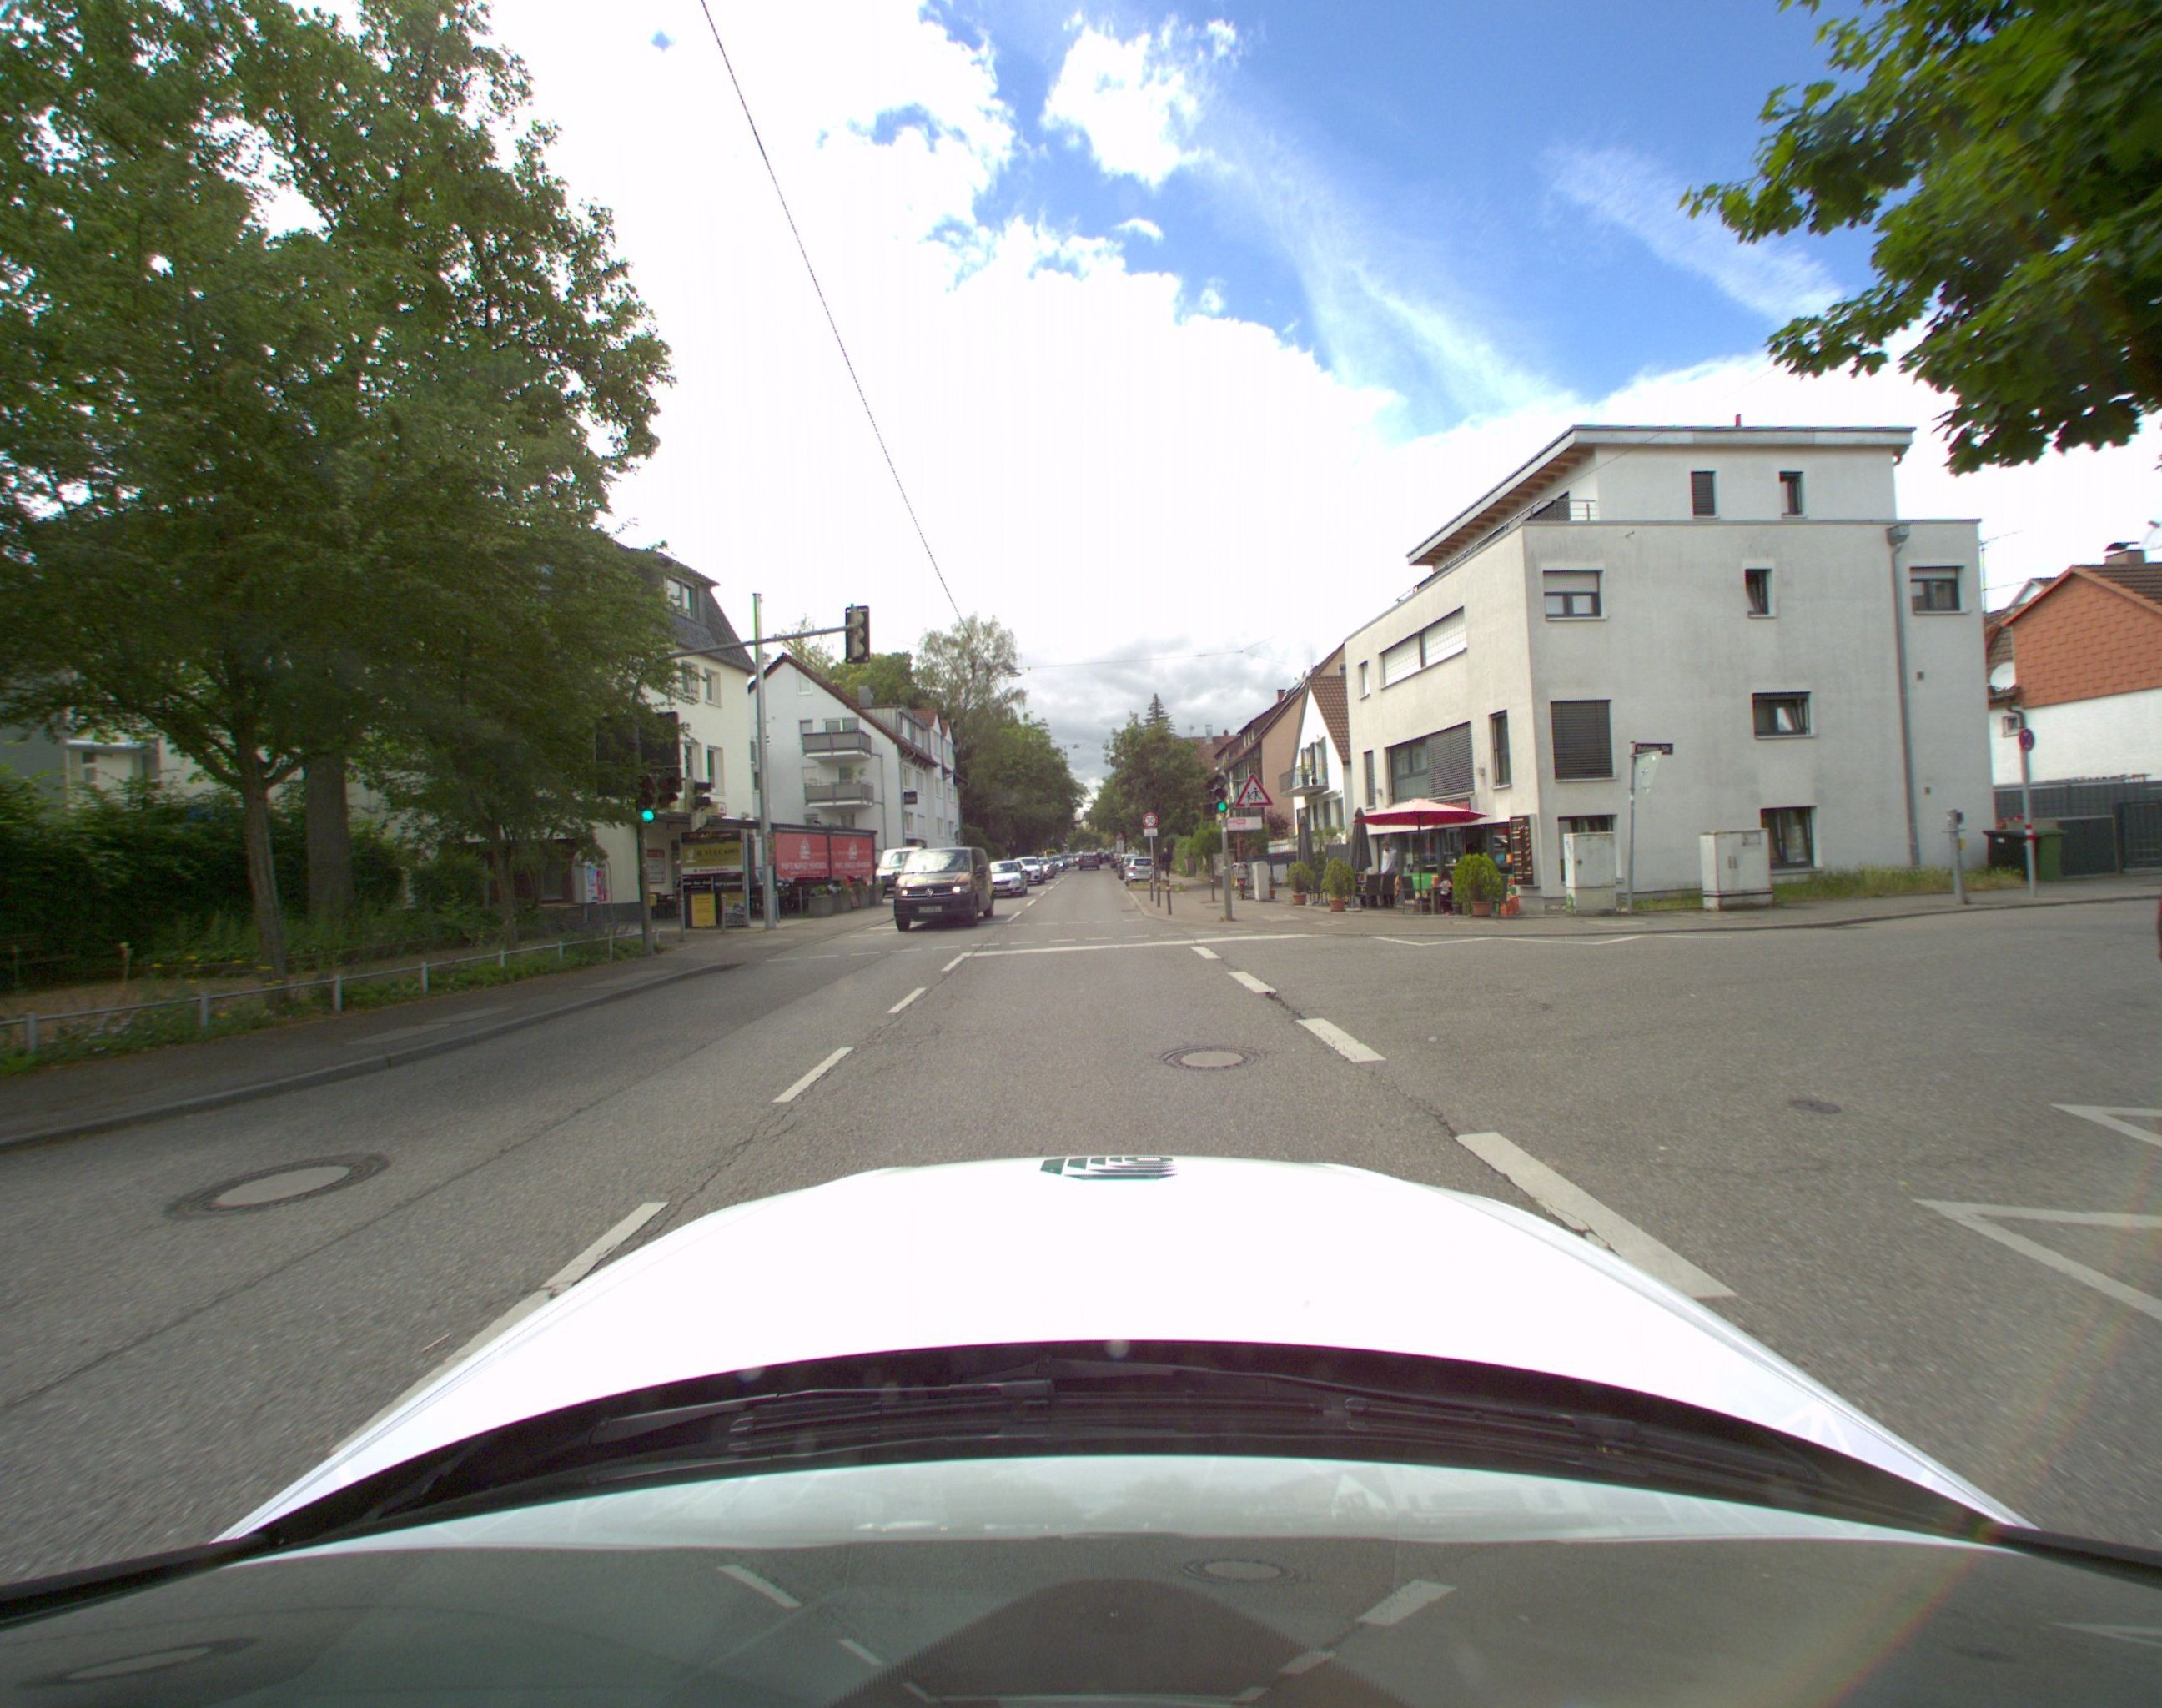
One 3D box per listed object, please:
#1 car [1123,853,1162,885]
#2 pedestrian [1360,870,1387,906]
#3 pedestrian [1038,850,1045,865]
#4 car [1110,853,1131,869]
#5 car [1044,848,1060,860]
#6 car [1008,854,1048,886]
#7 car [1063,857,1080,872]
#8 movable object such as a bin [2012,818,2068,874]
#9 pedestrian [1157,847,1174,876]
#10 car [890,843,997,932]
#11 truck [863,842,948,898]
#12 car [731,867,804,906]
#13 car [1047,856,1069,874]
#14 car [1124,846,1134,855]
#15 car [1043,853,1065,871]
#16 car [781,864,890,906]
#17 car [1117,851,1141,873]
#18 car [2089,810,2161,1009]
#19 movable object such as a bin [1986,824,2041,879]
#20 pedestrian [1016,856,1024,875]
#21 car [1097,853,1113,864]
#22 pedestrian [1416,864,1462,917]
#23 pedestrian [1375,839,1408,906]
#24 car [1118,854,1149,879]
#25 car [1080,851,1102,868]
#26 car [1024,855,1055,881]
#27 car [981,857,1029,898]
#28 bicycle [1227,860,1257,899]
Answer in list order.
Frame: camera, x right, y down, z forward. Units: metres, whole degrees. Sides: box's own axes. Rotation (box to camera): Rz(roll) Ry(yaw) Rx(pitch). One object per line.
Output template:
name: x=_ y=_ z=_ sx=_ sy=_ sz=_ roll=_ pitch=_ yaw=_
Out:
car: x=3.108 y=0.715 z=41.878 sx=1.695 sy=1.480 sz=4.873 roll=-1 pitch=0 yaw=1
pedestrian: x=7.849 y=0.913 z=21.864 sx=0.420 sy=0.938 sz=0.494 roll=-2 pitch=-1 yaw=-20
pedestrian: x=-4.696 y=0.436 z=95.902 sx=0.712 sy=1.762 sz=1.120 roll=-2 pitch=-1 yaw=-4
car: x=3.875 y=0.682 z=80.700 sx=1.795 sy=1.445 sz=4.886 roll=-1 pitch=0 yaw=0
car: x=-4.789 y=0.022 z=135.475 sx=2.136 sy=1.981 sz=4.936 roll=-2 pitch=-1 yaw=4
car: x=-2.926 y=0.870 z=45.778 sx=1.800 sy=1.571 sz=4.160 roll=-5 pitch=0 yaw=1
car: x=-1.142 y=1.323 z=102.308 sx=1.779 sy=1.648 sz=4.492 roll=-5 pitch=0 yaw=2
movable object such as a bin: x=20.217 y=-0.165 z=17.178 sx=0.525 sy=1.128 sz=0.526 roll=-2 pitch=-1 yaw=-7
pedestrian: x=5.065 y=0.455 z=48.765 sx=0.877 sy=1.712 sz=0.843 roll=-2 pitch=-1 yaw=2
car: x=-3.304 y=0.746 z=20.472 sx=1.871 sy=1.912 sz=4.750 roll=-2 pitch=0 yaw=-1
truck: x=-8.269 y=0.735 z=39.069 sx=2.215 sy=2.380 sz=6.332 roll=-2 pitch=-1 yaw=4
car: x=-13.013 y=1.368 z=33.742 sx=2.811 sy=1.470 sz=1.576 roll=-4 pitch=-1 yaw=39
car: x=-2.389 y=1.150 z=84.933 sx=1.921 sy=1.546 sz=4.087 roll=-6 pitch=0 yaw=1
car: x=10.601 y=-0.800 z=180.476 sx=1.985 sy=2.014 sz=4.003 roll=-2 pitch=-1 yaw=3
car: x=-2.469 y=0.746 z=74.679 sx=1.754 sy=1.439 sz=3.971 roll=-4 pitch=0 yaw=1
car: x=-9.494 y=1.195 z=31.760 sx=3.684 sy=1.425 sz=1.803 roll=-2 pitch=0 yaw=-3
car: x=3.592 y=0.567 z=61.746 sx=1.616 sy=1.507 sz=3.780 roll=-3 pitch=0 yaw=1
car: x=9.954 y=0.291 z=5.942 sx=4.180 sy=1.415 sz=1.770 roll=-4 pitch=1 yaw=-16
movable object such as a bin: x=19.578 y=-0.047 z=17.100 sx=0.525 sy=1.128 sz=0.526 roll=-2 pitch=-1 yaw=-7
pedestrian: x=-5.363 y=1.015 z=71.275 sx=0.652 sy=1.667 sz=0.930 roll=-2 pitch=-1 yaw=-4
car: x=3.286 y=0.591 z=111.747 sx=1.806 sy=1.501 sz=4.275 roll=-1 pitch=0 yaw=7
pedestrian: x=7.640 y=0.768 z=17.382 sx=0.569 sy=1.089 sz=0.629 roll=-2 pitch=-1 yaw=-24
pedestrian: x=8.328 y=0.486 z=21.837 sx=0.429 sy=1.762 sz=0.671 roll=-2 pitch=-1 yaw=-20
car: x=3.210 y=0.711 z=50.439 sx=1.728 sy=1.428 sz=4.884 roll=0 pitch=0 yaw=1
car: x=0.930 y=0.475 z=75.442 sx=1.968 sy=1.513 sz=4.269 roll=1 pitch=0 yaw=2
car: x=-2.749 y=0.898 z=54.934 sx=1.723 sy=1.502 sz=4.376 roll=-5 pitch=0 yaw=0
car: x=-3.067 y=0.904 z=33.409 sx=1.613 sy=1.486 sz=3.811 roll=-2 pitch=0 yaw=-1
bicycle: x=5.216 y=0.802 z=26.458 sx=0.717 sy=1.150 sz=2.217 roll=-3 pitch=-1 yaw=6
